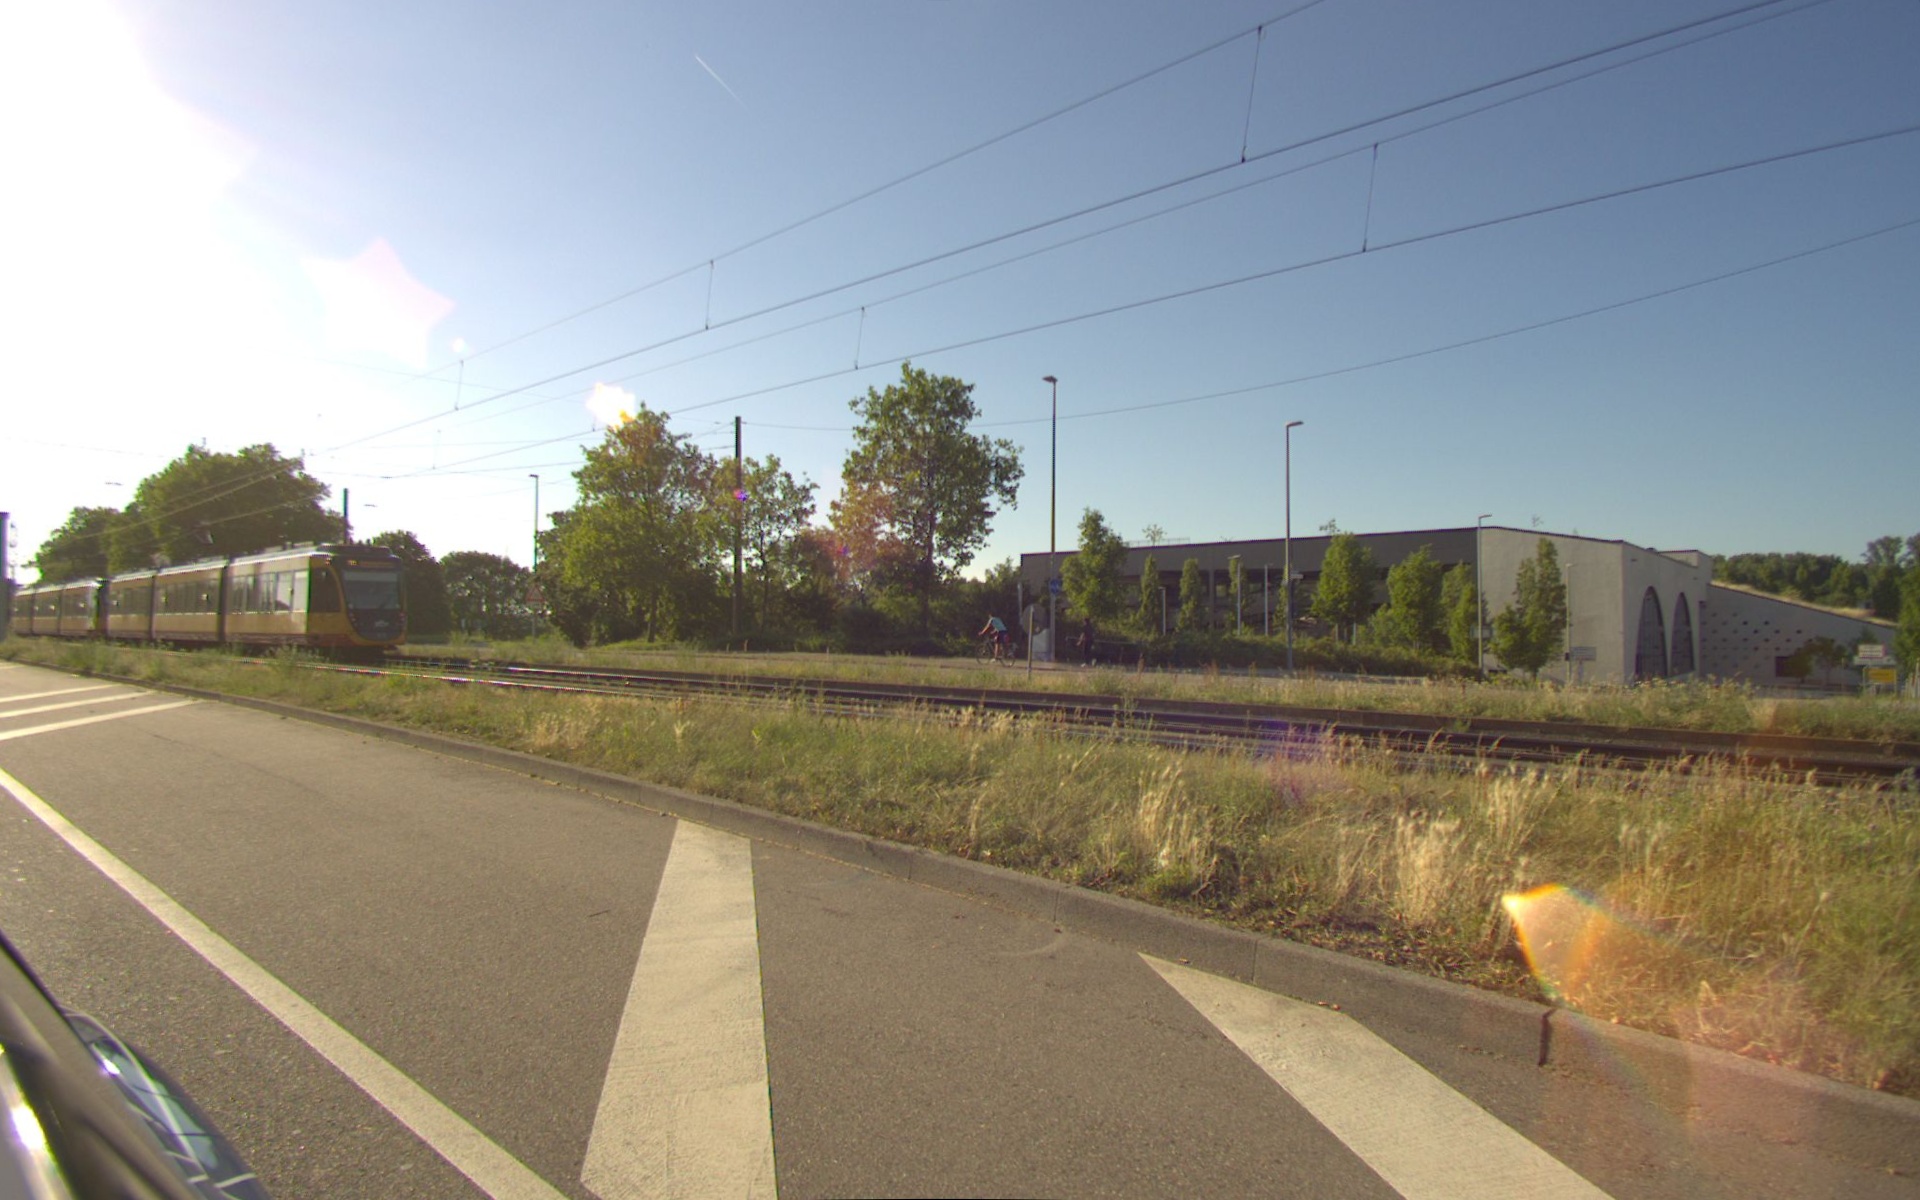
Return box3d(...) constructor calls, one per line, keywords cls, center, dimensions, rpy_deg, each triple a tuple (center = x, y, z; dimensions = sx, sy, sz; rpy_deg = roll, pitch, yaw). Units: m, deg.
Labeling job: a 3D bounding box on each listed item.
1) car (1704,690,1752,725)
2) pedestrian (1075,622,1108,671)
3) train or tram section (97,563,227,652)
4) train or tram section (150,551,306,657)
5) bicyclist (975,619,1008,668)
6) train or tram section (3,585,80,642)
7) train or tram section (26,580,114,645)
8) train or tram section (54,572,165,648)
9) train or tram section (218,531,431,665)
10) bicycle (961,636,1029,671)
box3d(cls="car", center=(41.502, 5.761, 54.670), dimensions=(1.694, 1.564, 3.944), rpy_deg=(-1, -2, 42))
box3d(cls="pedestrian", center=(4.438, 1.563, 34.184), dimensions=(0.878, 1.621, 0.713), rpy_deg=(-1, -2, 41))
box3d(cls="train or tram section", center=(-40.022, 0.454, 50.509), dimensions=(12.105, 3.977, 2.854), rpy_deg=(-1, -2, 41))
box3d(cls="train or tram section", center=(-31.178, 0.248, 42.814), dimensions=(11.333, 3.977, 2.854), rpy_deg=(-1, -2, 41))
box3d(cls="bicyclist", center=(1.092, 1.487, 34.880), dimensions=(0.835, 1.629, 0.760), rpy_deg=(-1, -2, 41))
box3d(cls="train or tram section", center=(-68.233, 1.054, 75.093), dimensions=(11.659, 3.977, 2.854), rpy_deg=(-1, -2, 41))
box3d(cls="train or tram section", center=(-59.359, 0.872, 67.361), dimensions=(11.905, 3.977, 2.854), rpy_deg=(-1, -2, 41))
box3d(cls="train or tram section", center=(-49.732, 0.656, 58.977), dimensions=(13.652, 3.977, 2.854), rpy_deg=(-1, -2, 41))
box3d(cls="train or tram section", center=(-22.356, 0.046, 35.127), dimensions=(12.105, 3.977, 2.854), rpy_deg=(-1, -2, 41))
box3d(cls="bicycle", center=(1.184, 1.827, 34.743), dimensions=(2.527, 1.136, 0.624), rpy_deg=(-1, -2, 41))
